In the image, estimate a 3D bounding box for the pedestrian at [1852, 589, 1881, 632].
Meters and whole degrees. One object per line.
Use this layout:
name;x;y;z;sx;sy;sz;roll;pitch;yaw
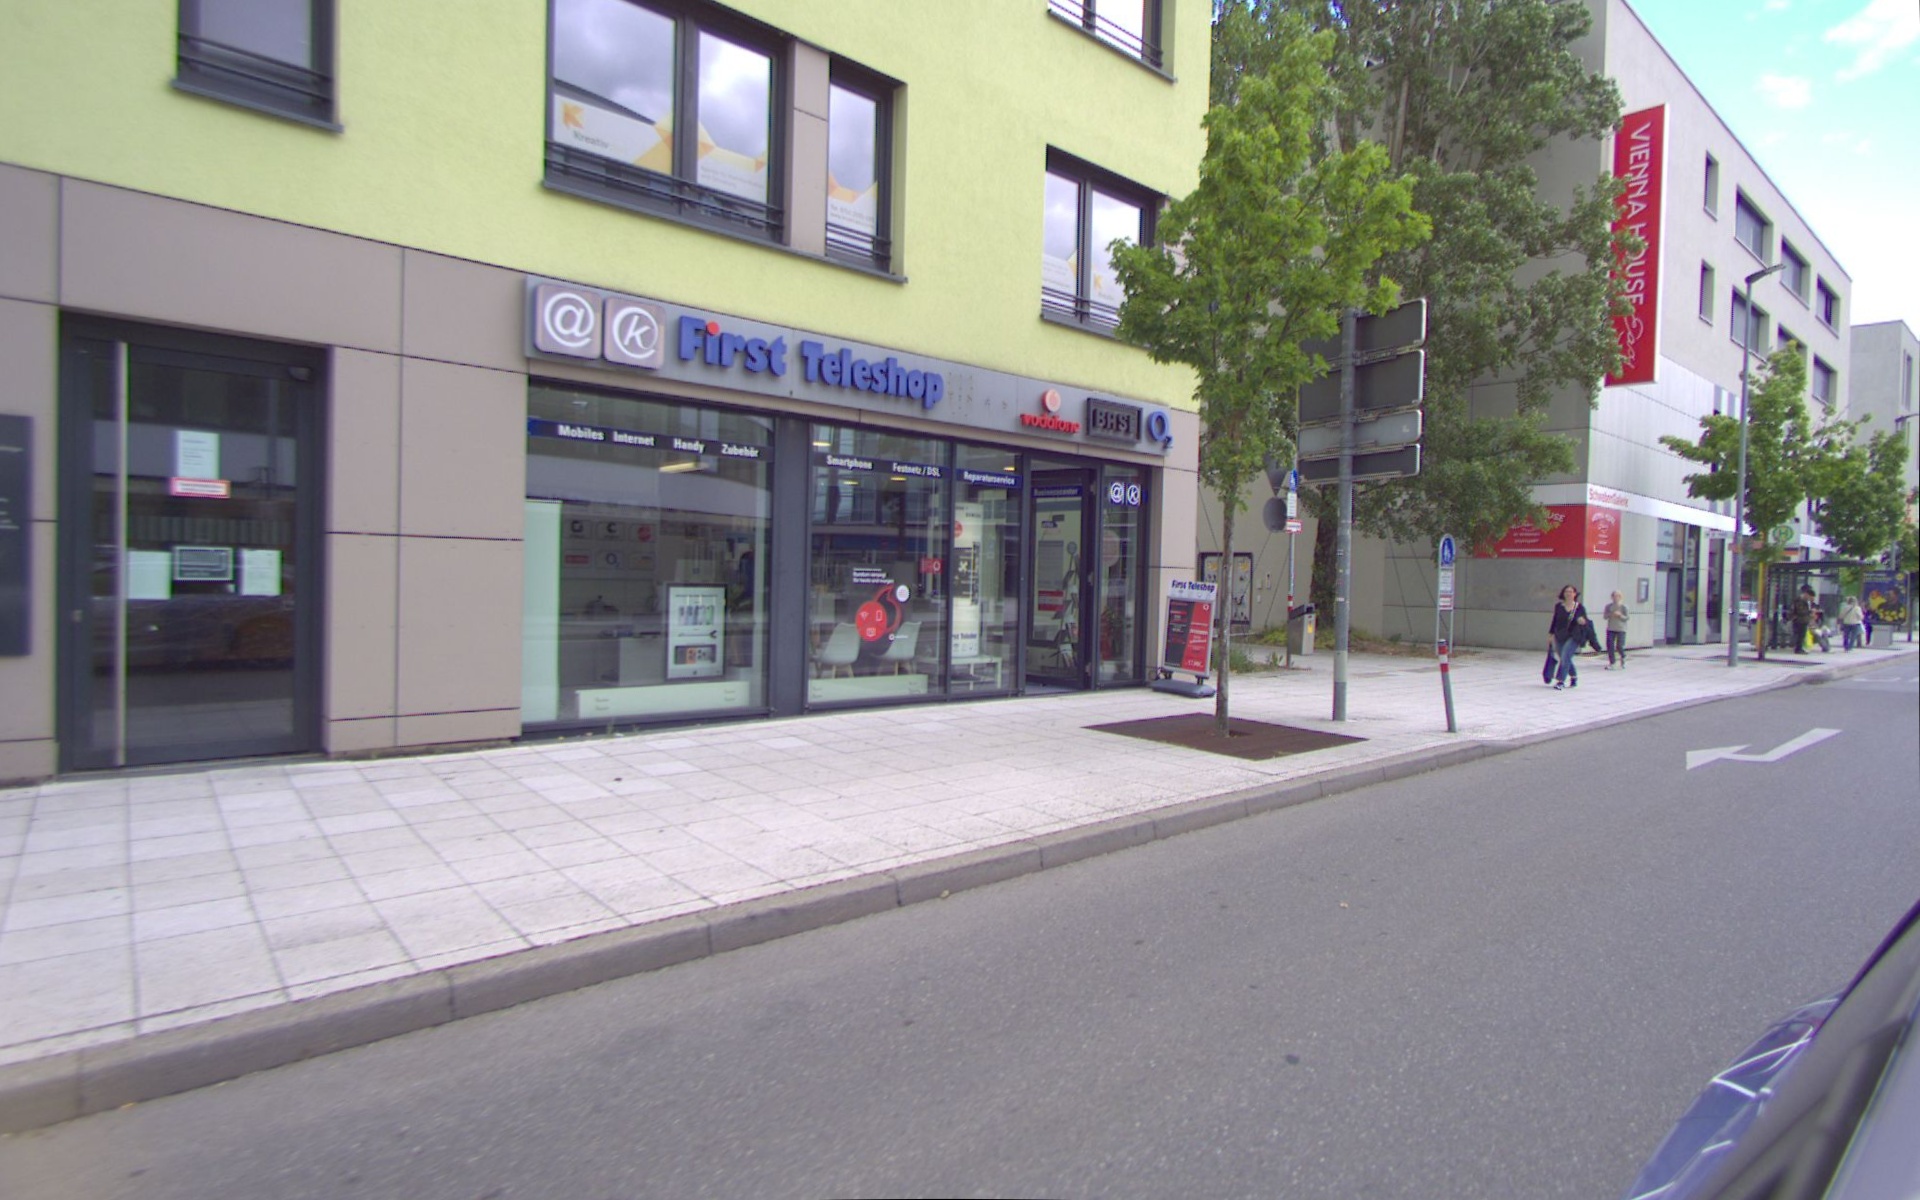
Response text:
pedestrian;37.072;0.424;41.393;0.603;1.690;0.746;1;1;-40

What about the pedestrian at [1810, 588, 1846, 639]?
pedestrian;28.409;0.426;33.126;0.702;1.628;0.742;1;1;-40

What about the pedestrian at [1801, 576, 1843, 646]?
pedestrian;22.826;0.285;26.792;0.840;1.791;0.581;1;2;-35

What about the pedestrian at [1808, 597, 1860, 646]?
pedestrian;23.707;0.569;27.449;0.720;1.274;0.944;0;3;-43

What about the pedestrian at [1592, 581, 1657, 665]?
pedestrian;13.257;0.442;20.198;0.790;1.603;0.870;0;2;-41

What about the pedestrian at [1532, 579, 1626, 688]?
pedestrian;9.651;0.489;15.781;0.998;1.603;0.949;0;2;-41

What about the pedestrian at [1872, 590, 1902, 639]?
pedestrian;32.823;0.509;35.822;0.603;1.690;0.656;1;1;-40

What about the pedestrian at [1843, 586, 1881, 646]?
pedestrian;25.142;0.439;28.200;0.719;1.610;0.581;1;2;-35

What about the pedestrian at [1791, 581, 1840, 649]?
pedestrian;21.926;0.374;25.930;0.719;1.704;0.723;1;2;-35
